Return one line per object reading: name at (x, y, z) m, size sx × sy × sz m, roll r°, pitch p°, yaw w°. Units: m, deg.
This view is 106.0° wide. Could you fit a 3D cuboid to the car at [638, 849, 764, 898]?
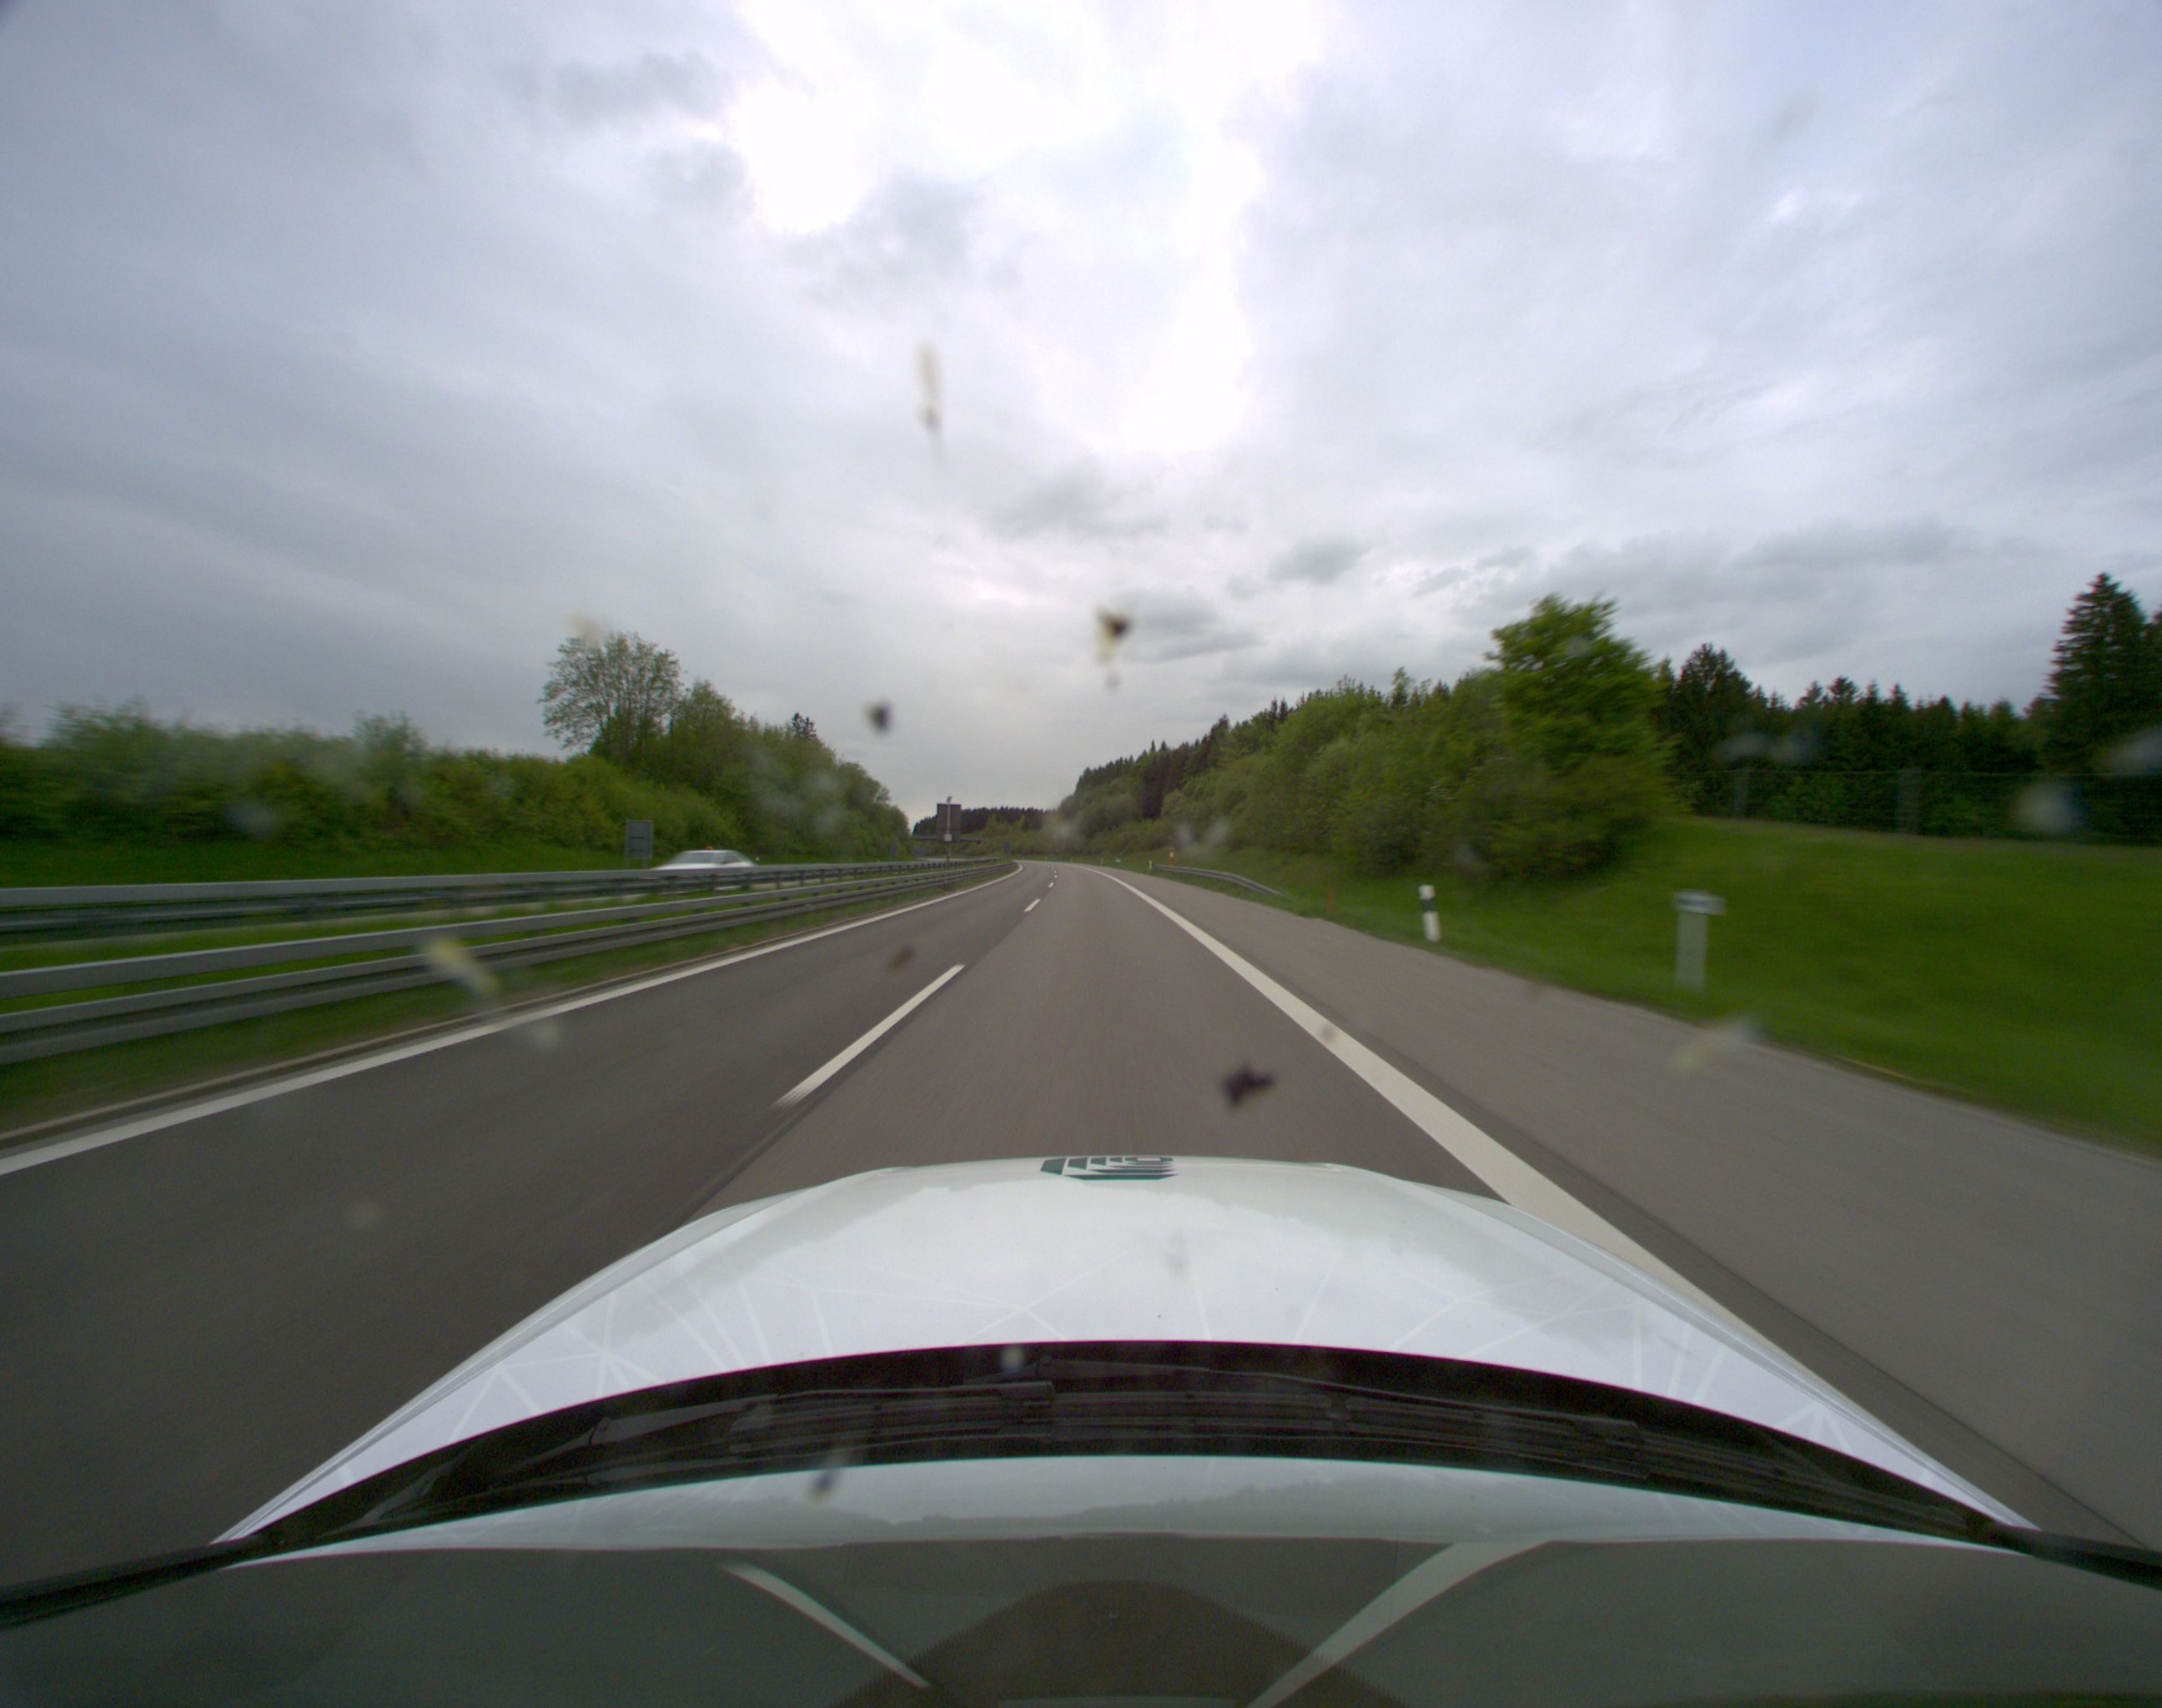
car at (-12.493, 0.579, 27.148) m, size 1.987 × 1.429 × 4.463 m, roll 2°, pitch 1°, yaw 1°
